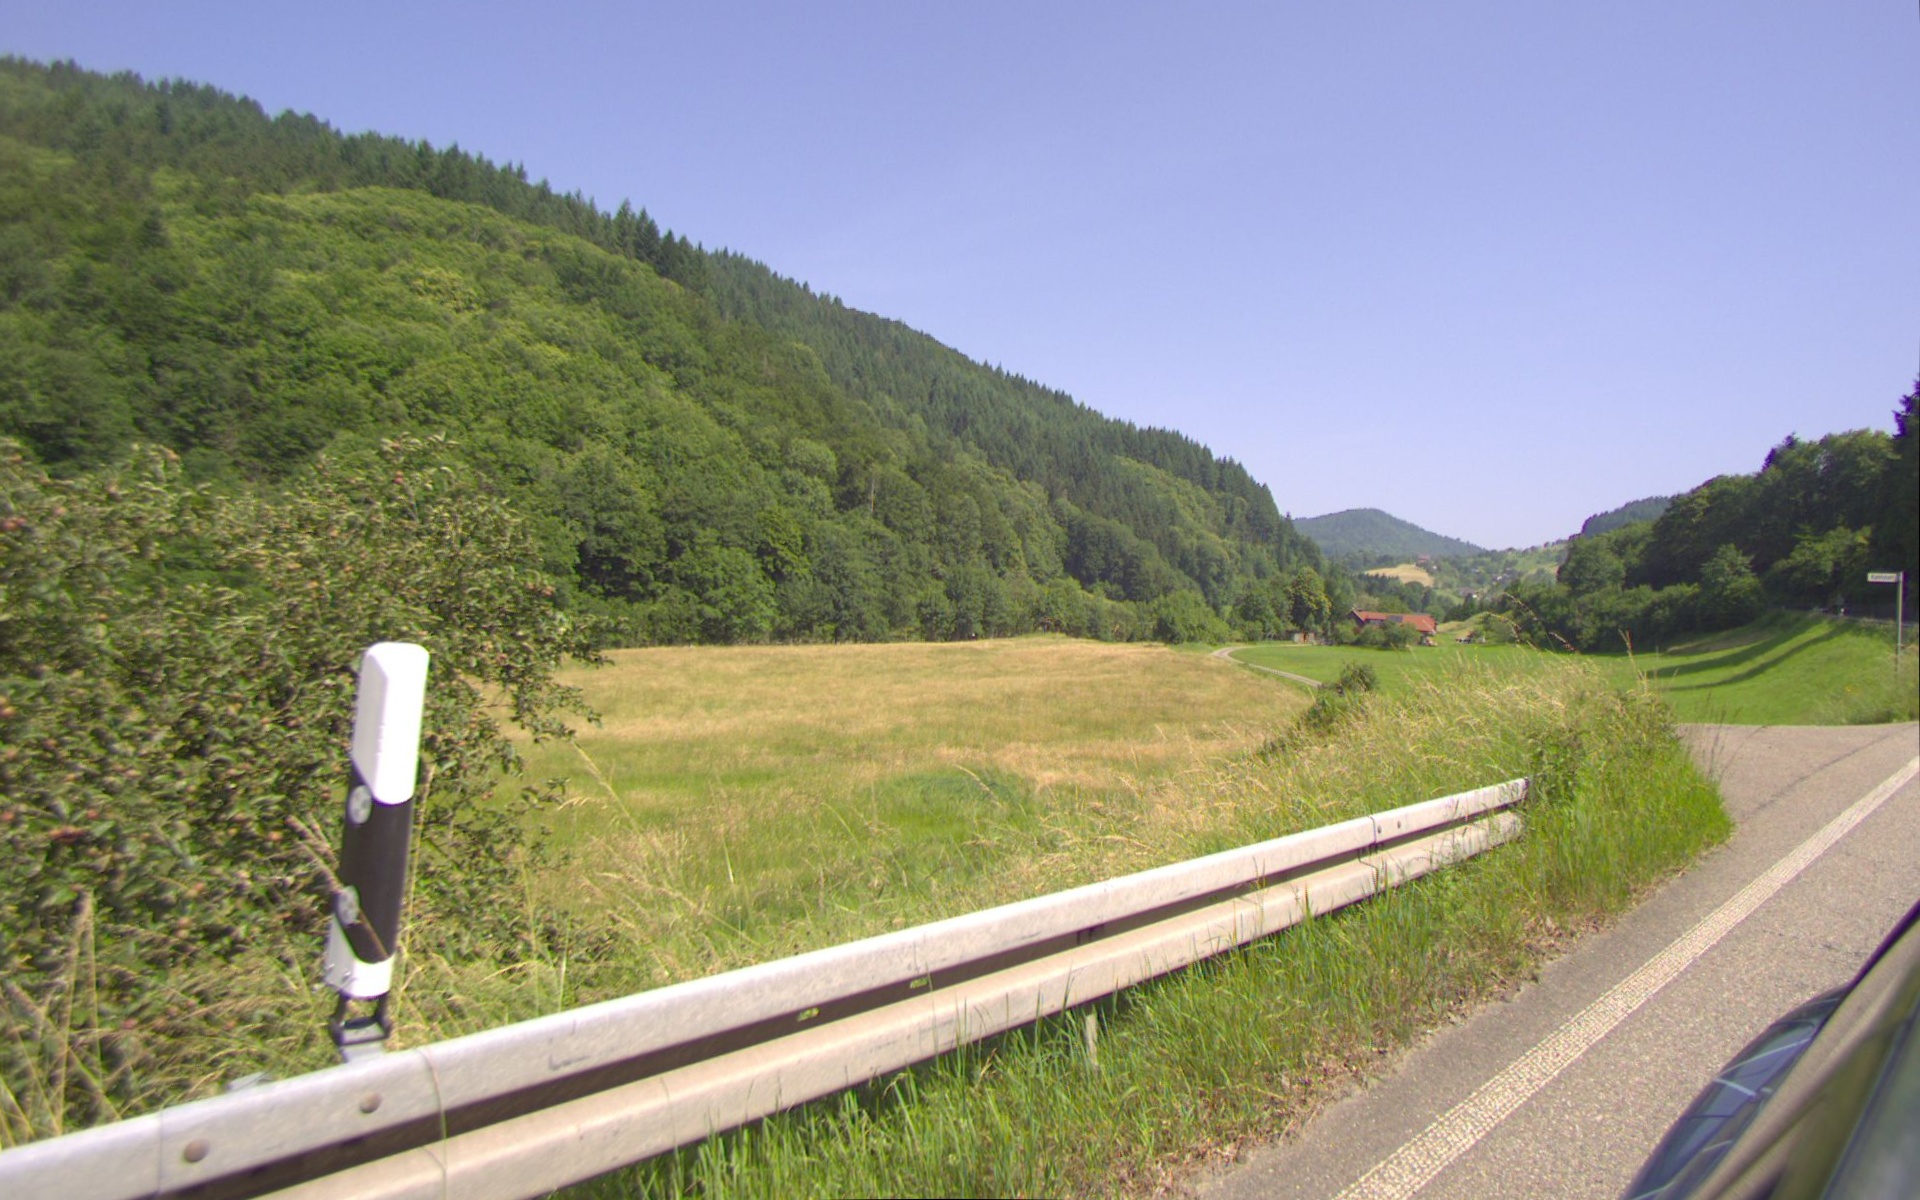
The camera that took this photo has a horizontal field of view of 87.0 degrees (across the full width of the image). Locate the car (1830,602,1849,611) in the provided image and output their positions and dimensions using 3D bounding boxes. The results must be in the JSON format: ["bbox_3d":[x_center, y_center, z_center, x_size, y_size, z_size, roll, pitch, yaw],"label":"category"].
[{"bbox_3d":[144.853,1.083,166.723,1.757,1.414,4.099,0,1,32],"label":"car"}]
